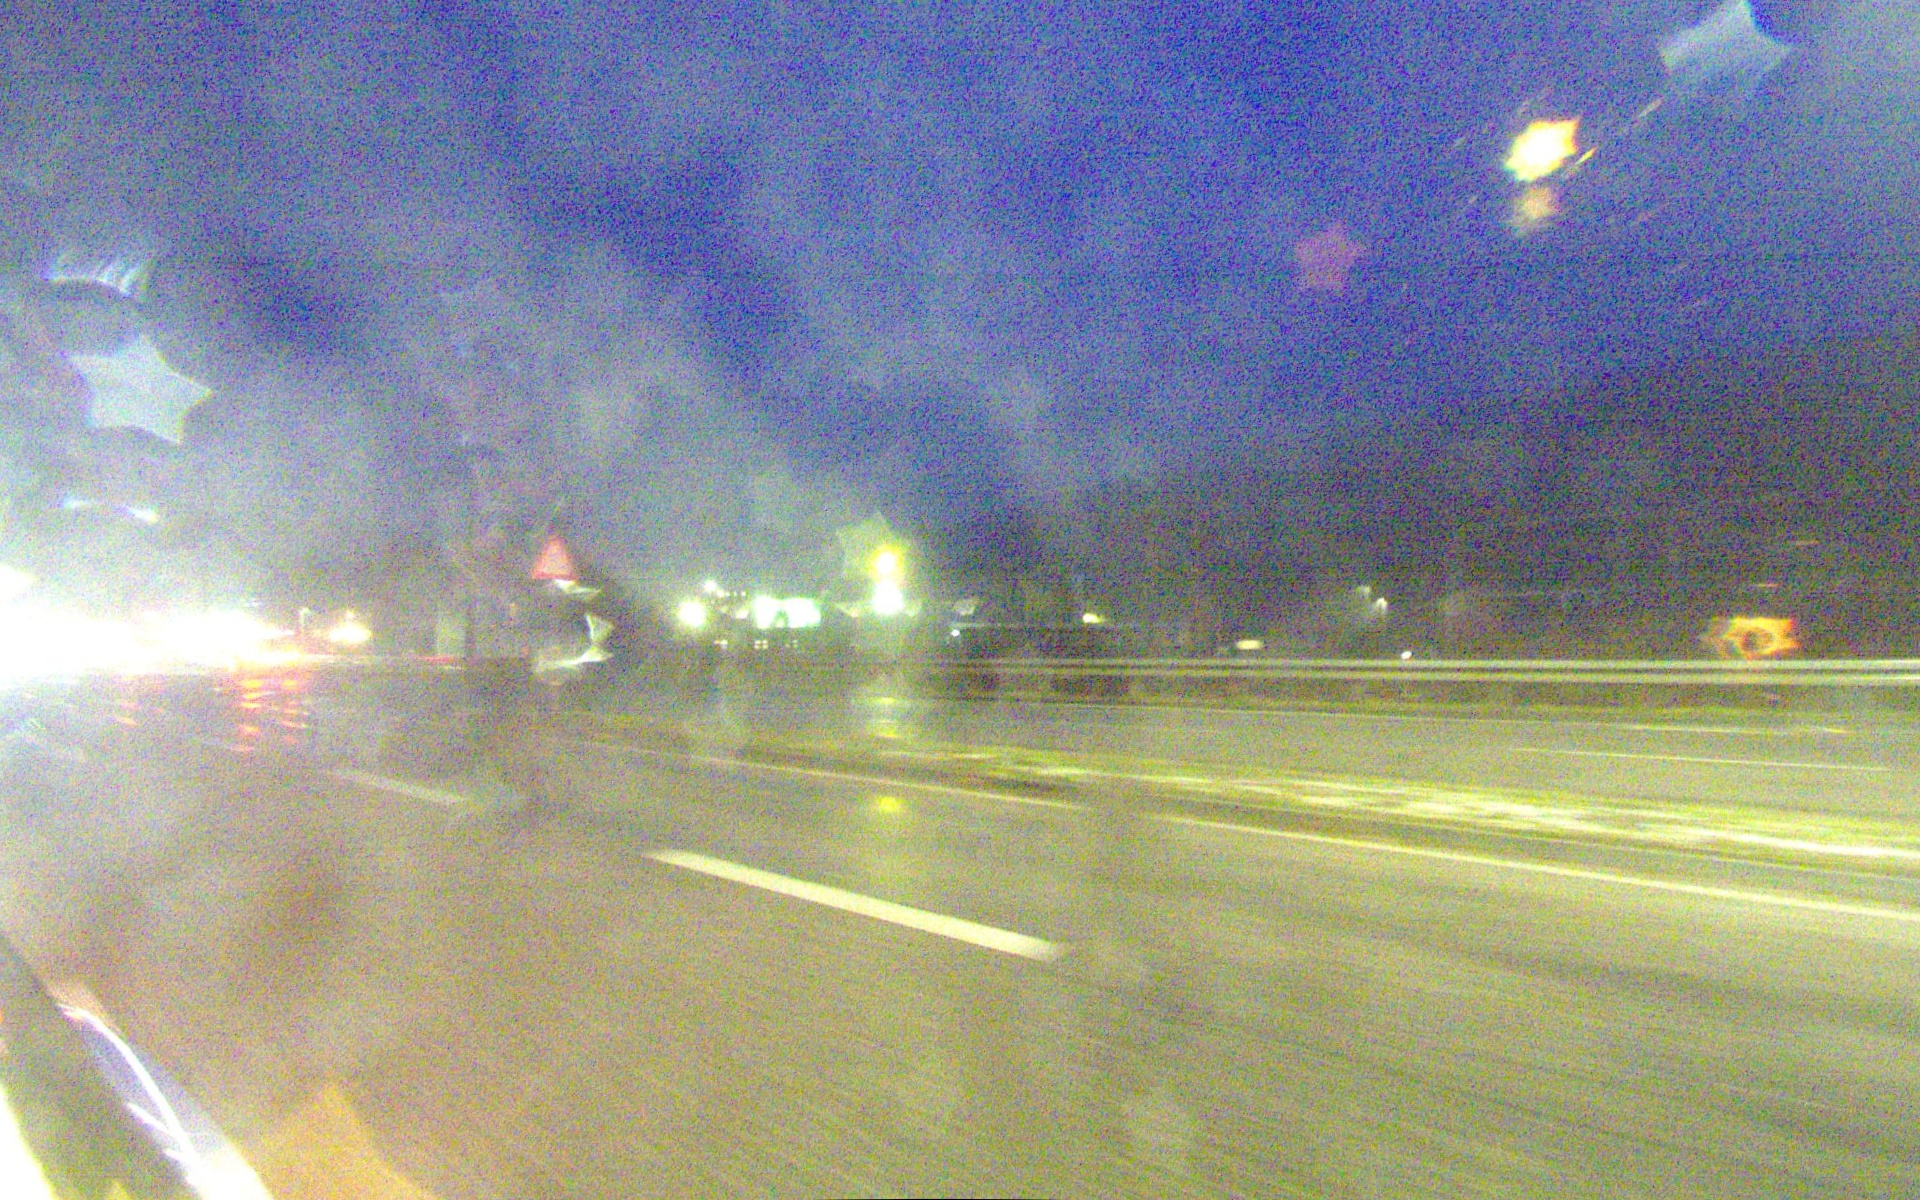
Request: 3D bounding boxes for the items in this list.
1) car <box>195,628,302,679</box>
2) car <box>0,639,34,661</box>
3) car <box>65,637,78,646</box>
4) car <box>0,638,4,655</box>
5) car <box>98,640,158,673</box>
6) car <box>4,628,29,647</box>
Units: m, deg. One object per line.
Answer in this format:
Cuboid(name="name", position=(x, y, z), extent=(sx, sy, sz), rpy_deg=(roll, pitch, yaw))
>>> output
Cuboid(name="car", position=(-26.741, 1.955, 37.985), extent=(4.571, 1.713, 2.069), rpy_deg=(-1, 0, 38))
Cuboid(name="car", position=(-69.316, 3.672, 74.342), extent=(1.783, 1.435, 4.208), rpy_deg=(-1, 0, -45))
Cuboid(name="car", position=(-157.888, 7.429, 179.832), extent=(1.781, 1.435, 4.211), rpy_deg=(-1, 0, -41))
Cuboid(name="car", position=(-89.946, 4.334, 93.879), extent=(1.782, 1.435, 4.210), rpy_deg=(-1, 0, -43))
Cuboid(name="car", position=(-41.301, 2.770, 50.202), extent=(4.205, 1.435, 1.784), rpy_deg=(-1, 0, 43))
Cuboid(name="car", position=(-108.356, 4.304, 116.237), extent=(1.969, 2.029, 4.005), rpy_deg=(-1, 0, -42))
